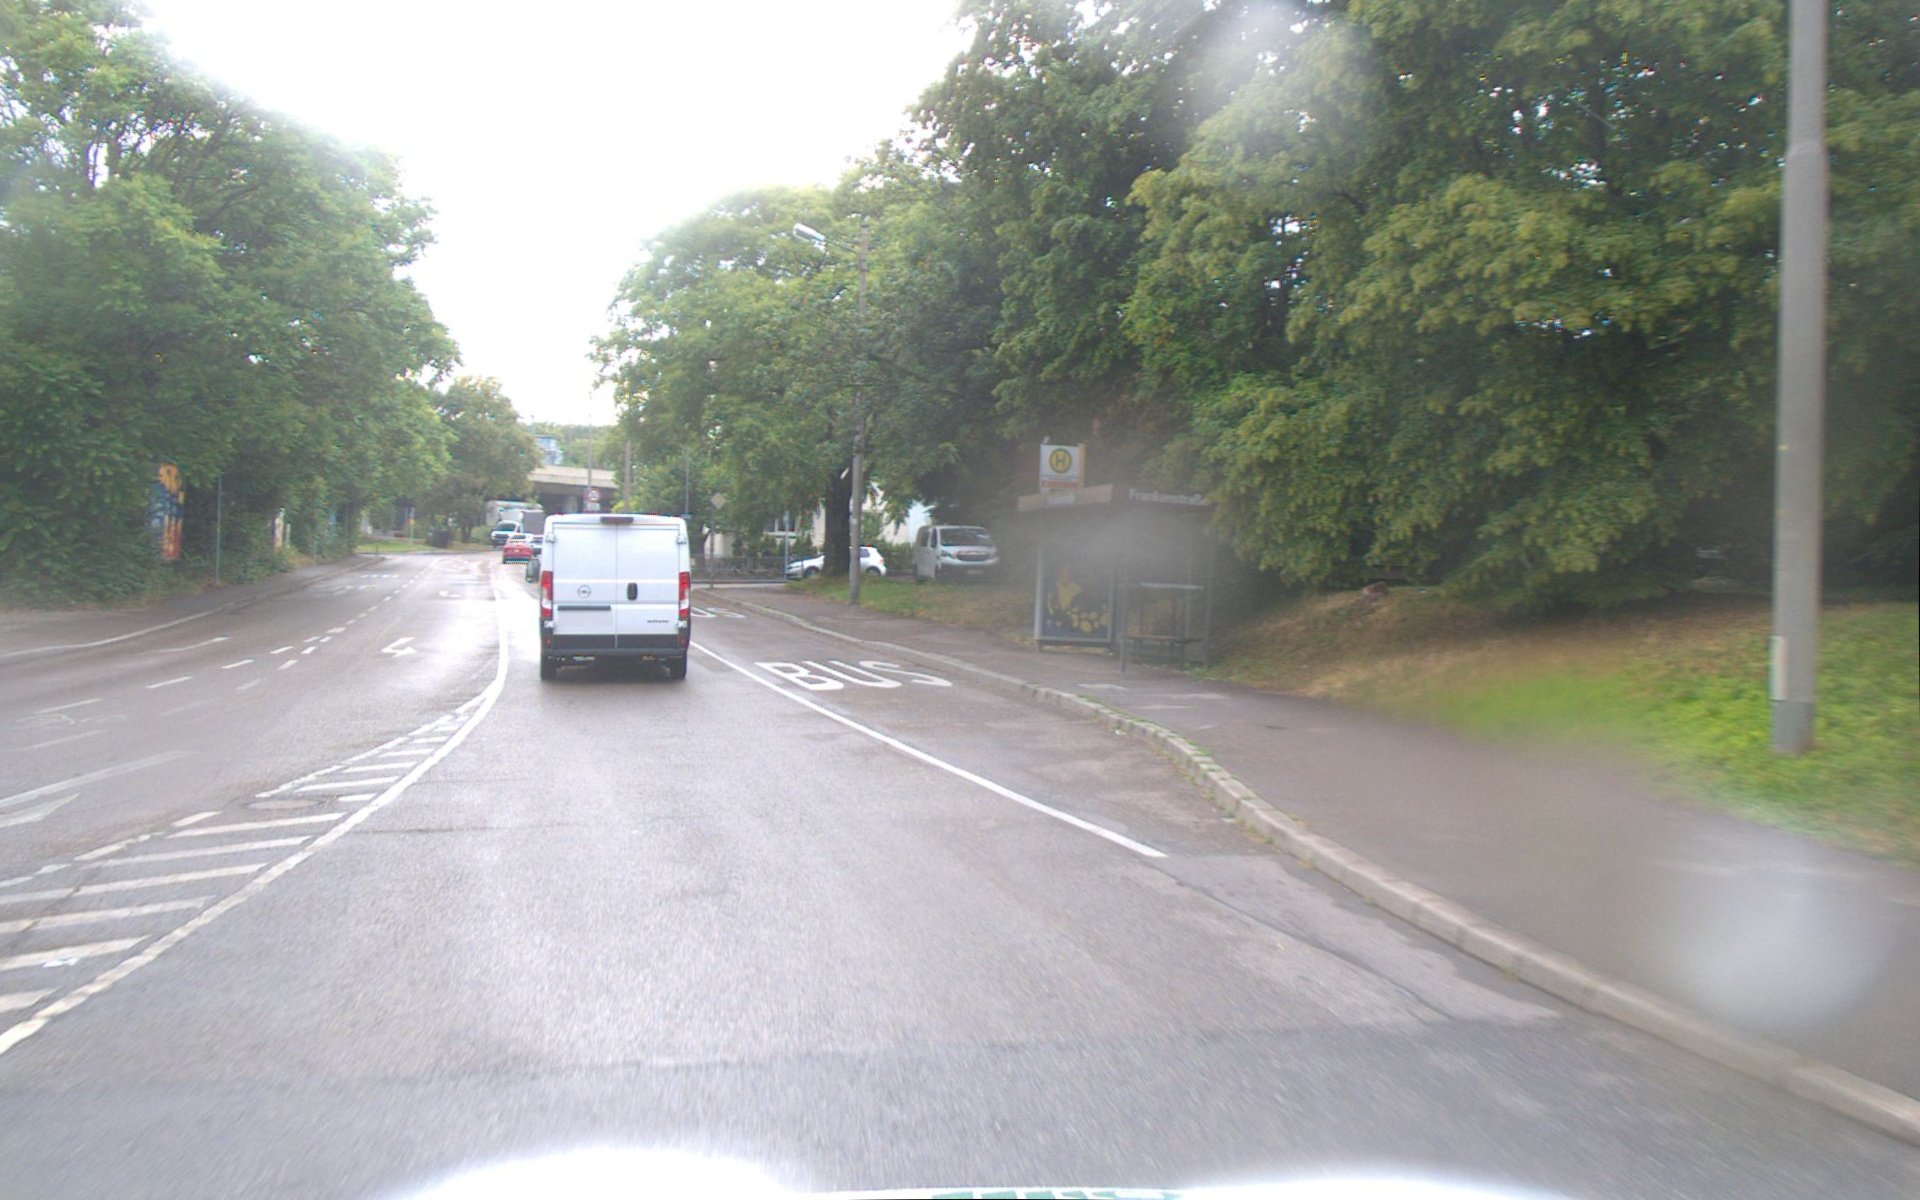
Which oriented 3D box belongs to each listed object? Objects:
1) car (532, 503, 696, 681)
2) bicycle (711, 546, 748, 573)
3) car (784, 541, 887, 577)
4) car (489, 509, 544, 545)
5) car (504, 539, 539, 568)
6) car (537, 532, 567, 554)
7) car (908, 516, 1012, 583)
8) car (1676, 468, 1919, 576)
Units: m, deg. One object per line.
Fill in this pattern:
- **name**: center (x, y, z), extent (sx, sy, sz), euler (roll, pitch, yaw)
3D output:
- **car**: center (-5.141, -0.155, 24.263), extent (2.110, 2.323, 5.045), euler (0, 1, -14)
- **bicycle**: center (-9.794, -1.734, 70.231), extent (1.543, 1.134, 0.456), euler (-1, 2, -13)
- **car**: center (-5.094, -1.676, 67.648), extent (3.927, 1.447, 1.695), euler (-1, 1, -19)
- **car**: center (-39.292, -6.434, 146.722), extent (2.481, 3.070, 7.215), euler (2, 2, 3)
- **car**: center (-26.179, -2.800, 98.738), extent (1.808, 1.560, 4.183), euler (1, 2, -18)
- **car**: center (-29.650, -4.171, 120.136), extent (1.733, 1.537, 3.749), euler (2, 2, -9)
- **car**: center (-0.069, -1.558, 50.138), extent (1.959, 1.836, 5.130), euler (2, 2, -13)
- **car**: center (17.162, -1.579, 33.753), extent (4.224, 1.809, 1.803), euler (-5, 1, 4)
